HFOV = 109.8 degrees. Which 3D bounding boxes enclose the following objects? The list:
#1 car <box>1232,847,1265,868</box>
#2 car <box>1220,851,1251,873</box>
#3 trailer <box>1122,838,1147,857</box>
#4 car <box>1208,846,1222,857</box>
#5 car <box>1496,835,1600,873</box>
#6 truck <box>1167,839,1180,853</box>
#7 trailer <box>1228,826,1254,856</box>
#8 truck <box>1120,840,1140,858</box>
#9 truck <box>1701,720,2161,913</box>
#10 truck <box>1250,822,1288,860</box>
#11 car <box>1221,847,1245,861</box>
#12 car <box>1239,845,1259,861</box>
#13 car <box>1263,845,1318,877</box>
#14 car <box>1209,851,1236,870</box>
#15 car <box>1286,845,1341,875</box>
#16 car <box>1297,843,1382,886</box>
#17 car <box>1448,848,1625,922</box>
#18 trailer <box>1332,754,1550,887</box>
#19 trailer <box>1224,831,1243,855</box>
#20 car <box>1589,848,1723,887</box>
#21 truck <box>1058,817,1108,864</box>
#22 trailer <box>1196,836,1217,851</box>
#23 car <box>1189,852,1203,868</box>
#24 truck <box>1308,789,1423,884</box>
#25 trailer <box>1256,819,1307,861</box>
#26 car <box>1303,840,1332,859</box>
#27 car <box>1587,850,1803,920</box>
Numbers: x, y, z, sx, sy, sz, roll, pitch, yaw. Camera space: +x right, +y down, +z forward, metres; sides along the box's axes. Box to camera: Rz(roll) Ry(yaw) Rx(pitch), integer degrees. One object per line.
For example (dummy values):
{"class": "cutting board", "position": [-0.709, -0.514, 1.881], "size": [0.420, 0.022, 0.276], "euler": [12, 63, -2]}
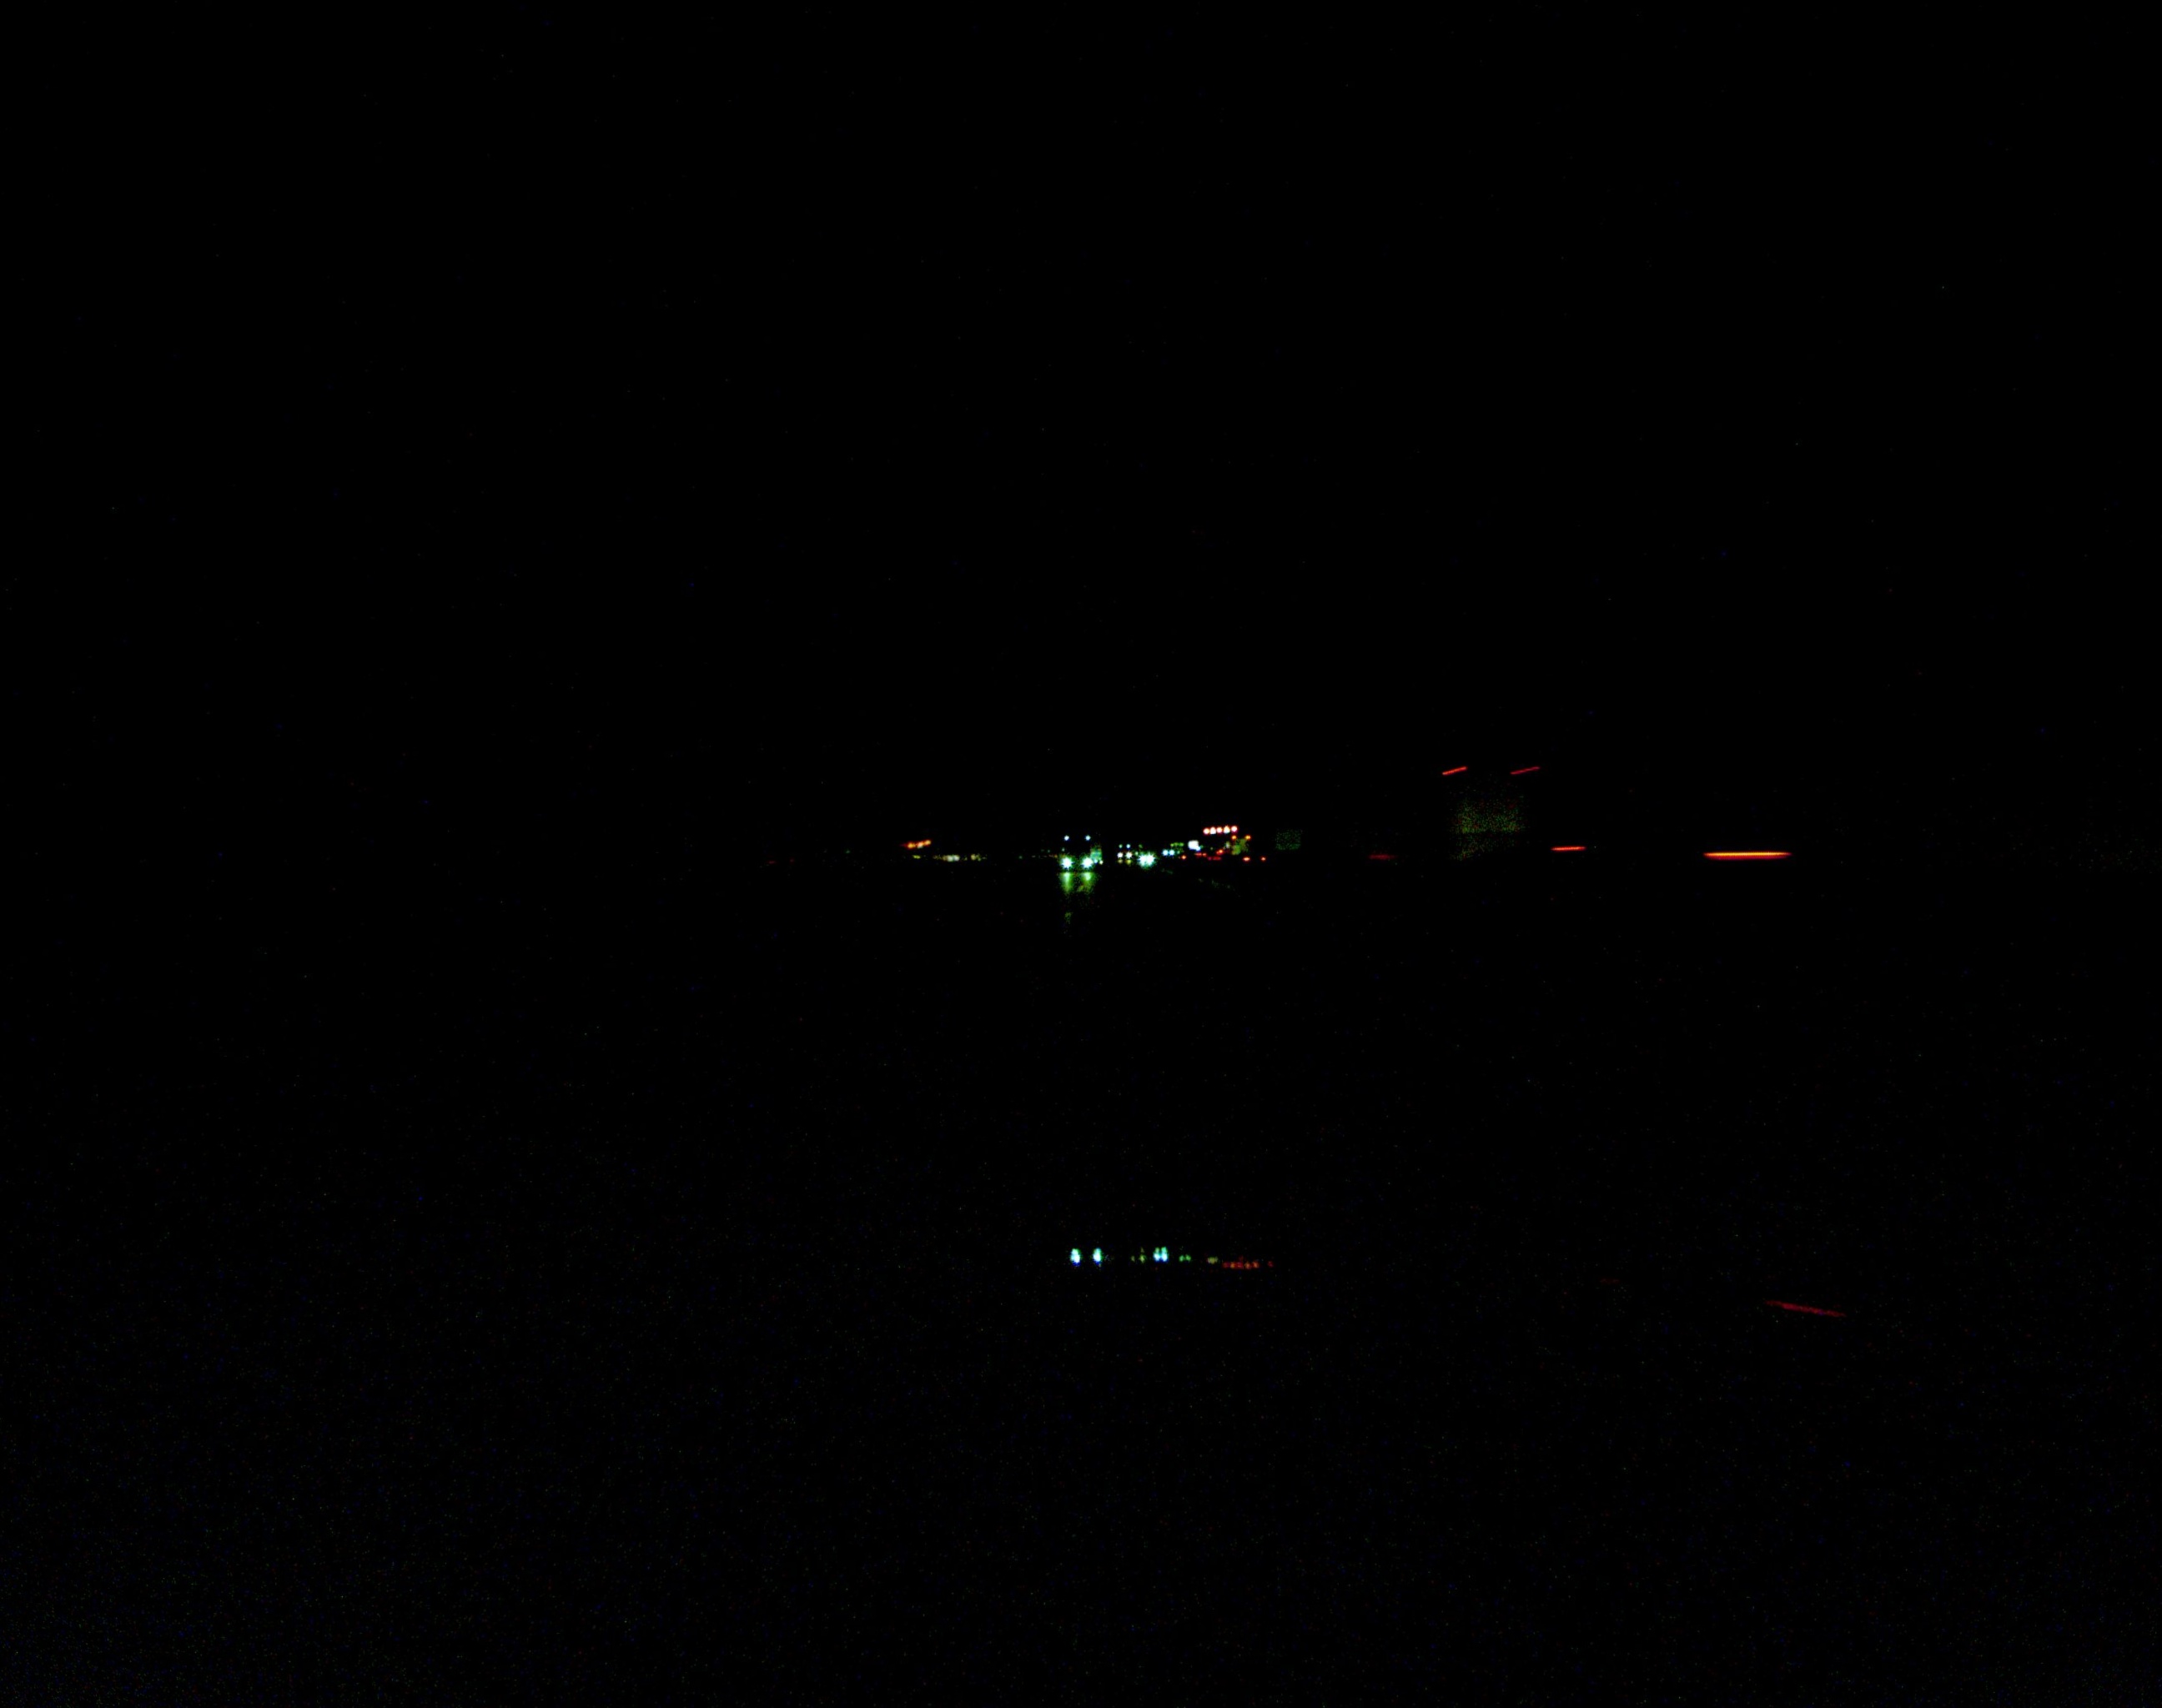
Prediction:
{"class": "car", "position": [15.474, 0.303, 70.535], "size": [1.999, 1.800, 4.747], "euler": [-1, 1, -1]}
{"class": "car", "position": [11.014, 0.552, 54.359], "size": [1.706, 1.418, 4.514], "euler": [-1, 0, 6]}
{"class": "trailer", "position": [13.067, -1.701, 183.895], "size": [2.878, 3.910, 12.896], "euler": [-4, 2, 17]}
{"class": "car", "position": [19.973, -0.348, 113.330], "size": [1.907, 1.483, 4.871], "euler": [-1, 0, 10]}
{"class": "car", "position": [17.923, -0.027, 29.392], "size": [1.574, 1.308, 4.161], "euler": [-3, 0, 3]}
{"class": "truck", "position": [27.652, -2.504, 226.445], "size": [2.896, 3.950, 4.005], "euler": [-2, 2, 21]}
{"class": "trailer", "position": [25.644, -2.059, 122.071], "size": [2.845, 4.439, 14.529], "euler": [0, 1, 7]}
{"class": "truck", "position": [11.516, -1.255, 179.048], "size": [2.871, 3.819, 8.060], "euler": [-3, 3, 16]}
{"class": "truck", "position": [17.388, -0.645, 15.725], "size": [2.563, 2.942, 8.172], "euler": [-2, 0, 2]}
{"class": "truck", "position": [19.766, -1.320, 80.192], "size": [2.834, 3.893, 4.935], "euler": [0, 0, 1]}
{"class": "car", "position": [16.217, -0.027, 81.366], "size": [1.951, 1.435, 4.651], "euler": [-1, 0, 4]}
{"class": "car", "position": [22.173, -0.161, 100.390], "size": [1.908, 1.876, 5.021], "euler": [-3, 2, 6]}
{"class": "car", "position": [10.710, 0.328, 39.140], "size": [1.847, 1.418, 4.514], "euler": [-4, 0, 5]}
{"class": "car", "position": [11.785, 0.520, 63.497], "size": [1.837, 1.544, 4.514], "euler": [-1, 1, 5]}
{"class": "car", "position": [14.591, 0.329, 48.014], "size": [1.998, 1.800, 5.486], "euler": [-1, 0, 2]}
{"class": "car", "position": [9.652, 0.349, 28.728], "size": [1.878, 1.418, 4.513], "euler": [-3, 0, 4]}
{"class": "car", "position": [9.623, 0.576, 16.446], "size": [1.574, 1.346, 4.000], "euler": [-3, 0, 3]}
{"class": "trailer", "position": [13.697, -1.234, 30.776], "size": [3.098, 4.065, 12.447], "euler": [-5, 1, 2]}
{"class": "trailer", "position": [28.069, -1.923, 140.474], "size": [2.881, 4.159, 14.532], "euler": [-1, 0, 9]}
{"class": "car", "position": [21.681, 0.467, 28.898], "size": [1.574, 1.346, 4.575], "euler": [-1, 0, -1]}
{"class": "truck", "position": [0.535, -1.237, 77.365], "size": [3.490, 4.111, 18.714], "euler": [-2, 0, 5]}
{"class": "trailer", "position": [38.276, -3.146, 231.235], "size": [2.835, 3.953, 15.781], "euler": [-2, 2, 21]}
{"class": "car", "position": [11.704, 0.582, 77.427], "size": [1.218, 1.586, 4.515], "euler": [0, 0, 7]}
{"class": "truck", "position": [13.990, -0.875, 38.072], "size": [3.116, 4.074, 7.075], "euler": [-5, 2, 2]}
{"class": "trailer", "position": [19.704, -1.313, 75.284], "size": [2.827, 3.894, 8.739], "euler": [0, 0, 1]}
{"class": "car", "position": [24.060, -0.498, 77.418], "size": [1.724, 1.710, 3.837], "euler": [-5, 1, 2]}
{"class": "car", "position": [13.436, 0.596, 16.994], "size": [1.574, 1.308, 4.161], "euler": [-3, 0, 3]}
